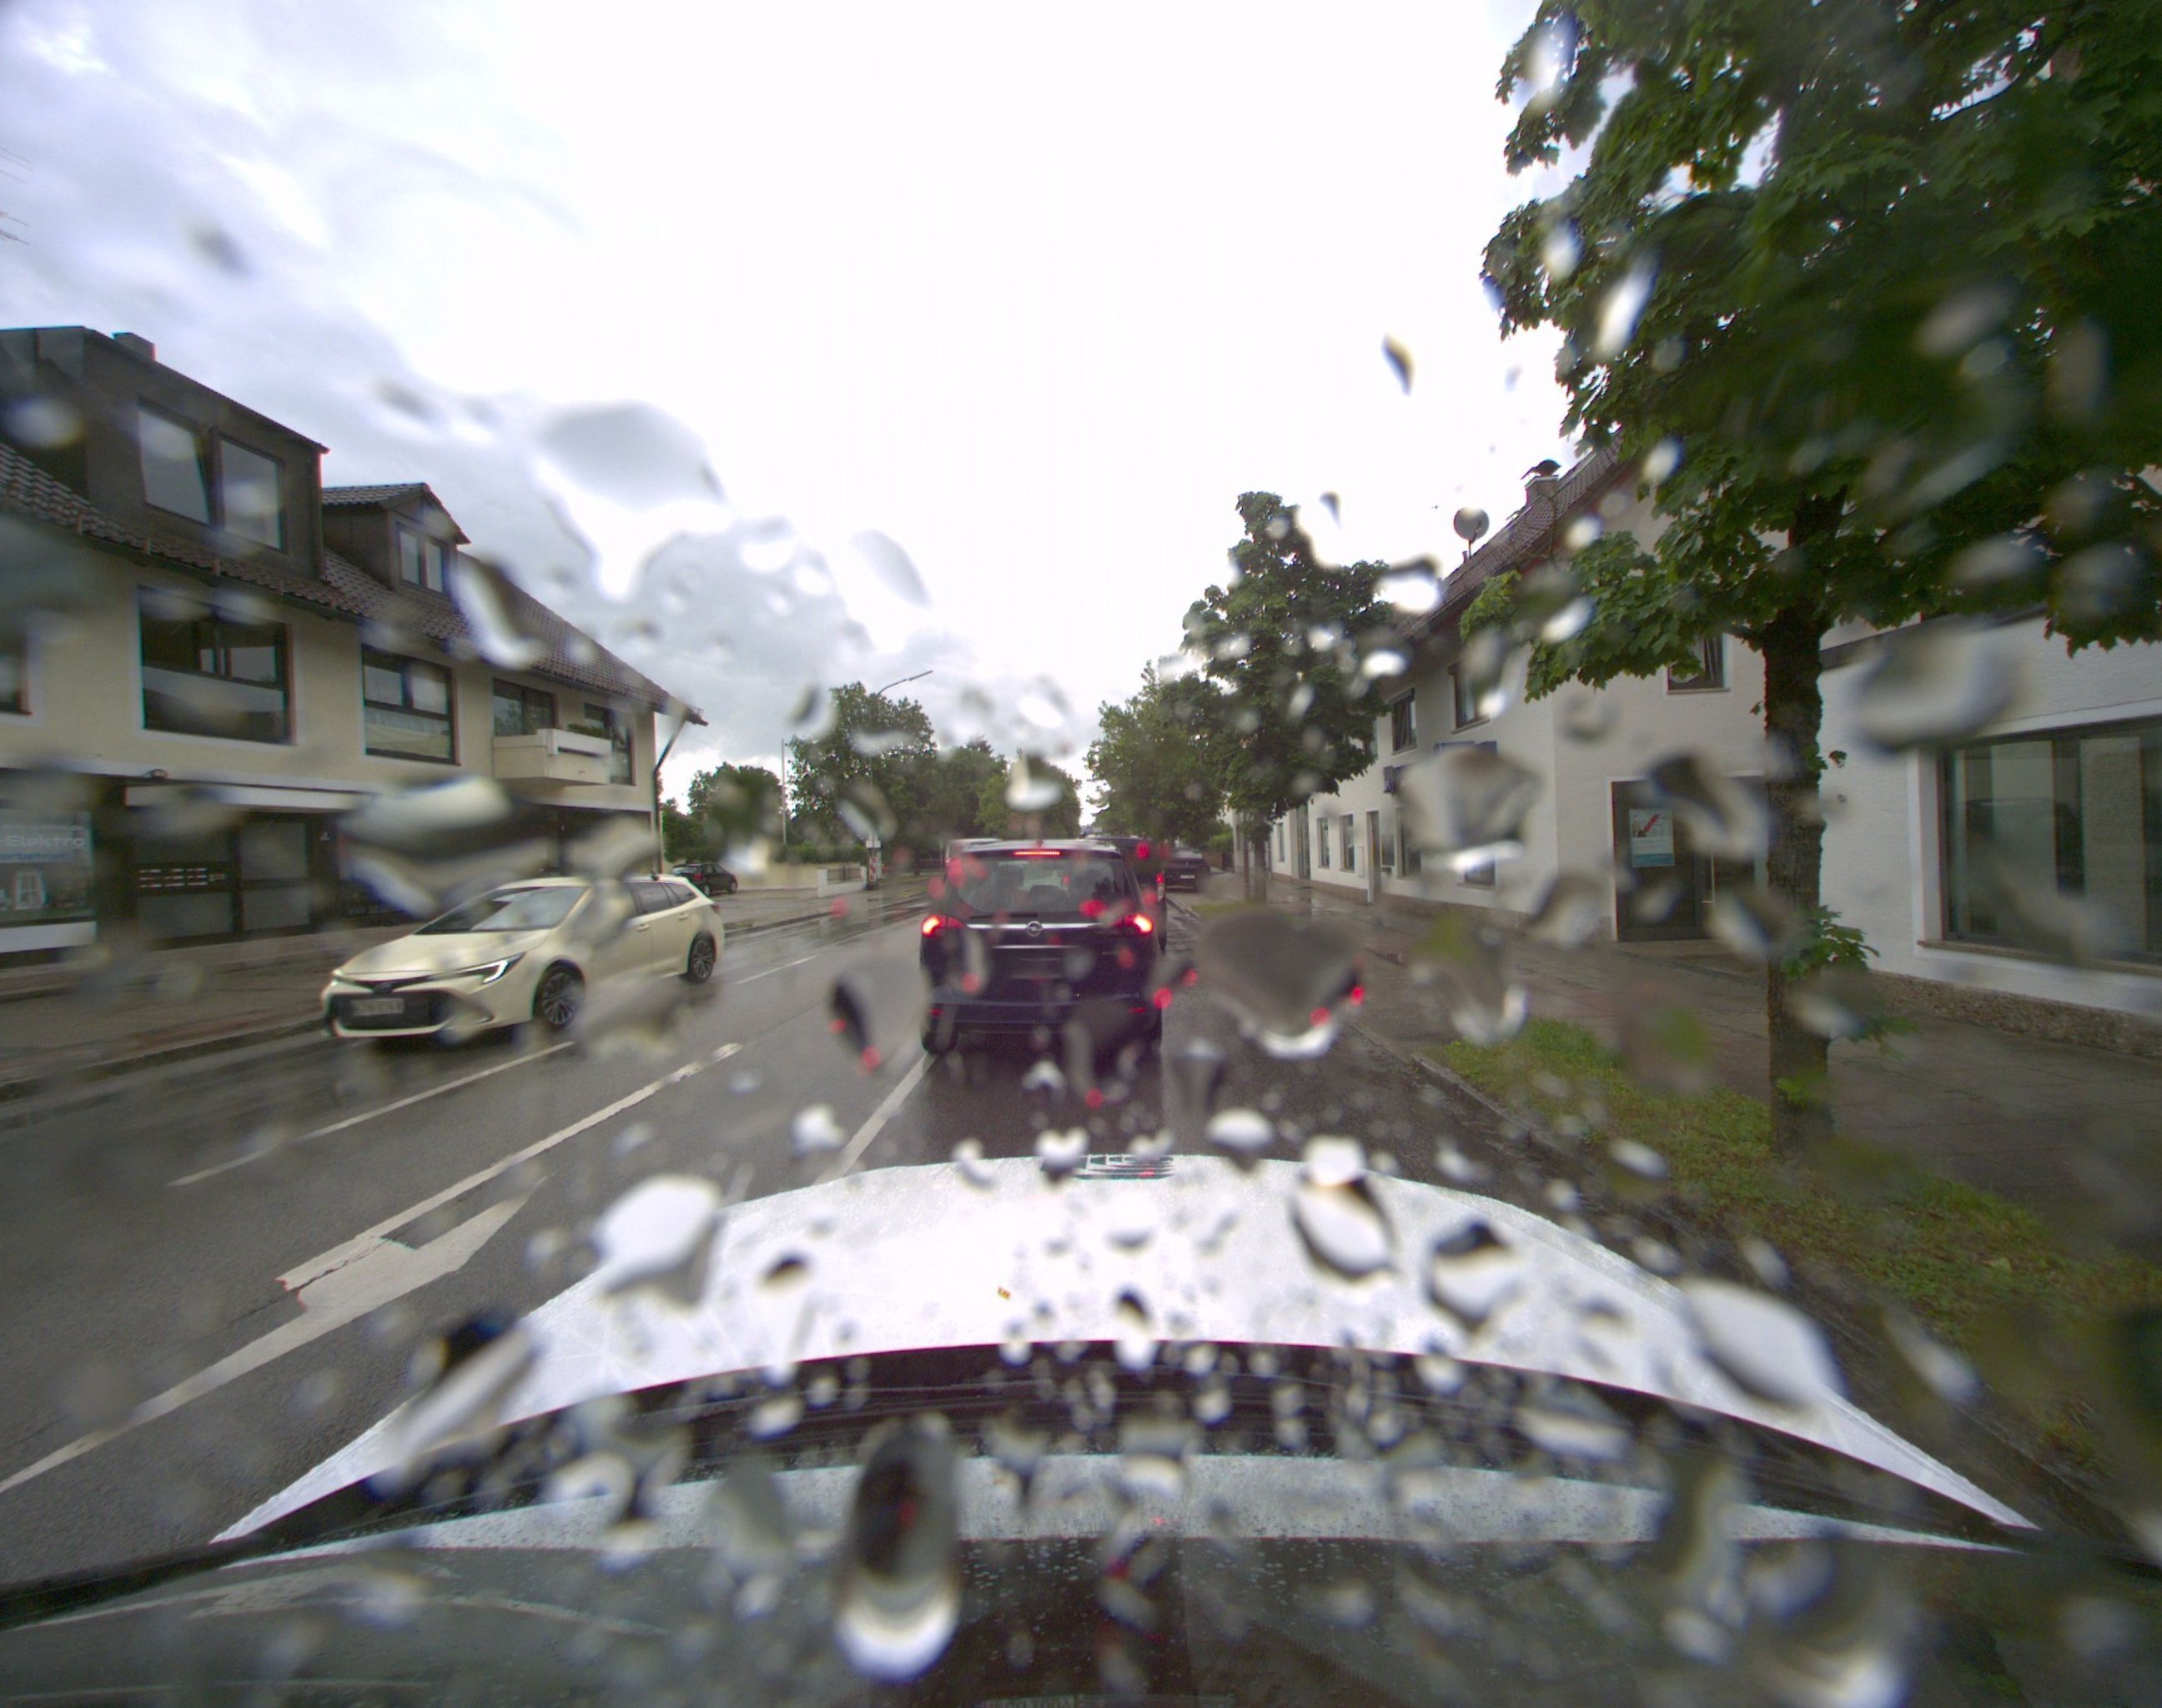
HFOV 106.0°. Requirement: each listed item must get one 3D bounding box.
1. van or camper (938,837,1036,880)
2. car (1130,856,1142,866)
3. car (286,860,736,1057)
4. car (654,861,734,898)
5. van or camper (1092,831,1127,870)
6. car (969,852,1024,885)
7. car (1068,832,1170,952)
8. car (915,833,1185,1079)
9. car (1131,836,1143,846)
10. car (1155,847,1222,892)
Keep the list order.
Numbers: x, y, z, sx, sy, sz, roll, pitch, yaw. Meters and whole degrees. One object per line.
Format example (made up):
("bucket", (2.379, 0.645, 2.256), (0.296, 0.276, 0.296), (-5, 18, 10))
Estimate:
("van or camper", (-6.415, 0.312, 55.486), (6.195, 2.707, 2.111), (-2, 0, 20))
("car", (8.102, 1.040, 119.727), (1.624, 1.378, 3.624), (-1, -1, 2))
("car", (-5.714, 0.901, 8.983), (1.745, 1.511, 4.233), (-3, 0, 3))
("car", (-16.418, 1.048, 34.746), (1.601, 1.380, 3.510), (-3, 0, 2))
("van or camper", (2.117, -0.270, 59.987), (2.351, 2.665, 5.374), (-2, 0, 2))
("car", (-3.982, 0.638, 39.060), (1.989, 1.407, 3.886), (-3, 0, 2))
("car", (0.611, 0.562, 13.661), (1.494, 1.776, 3.113), (-1, 0, 2))
("car", (-0.146, 0.668, 7.202), (1.762, 1.604, 3.665), (-1, 0, 2))
("car", (8.847, -2.024, 129.142), (1.624, 1.378, 3.624), (-3, 0, 2))
("car", (3.987, 0.556, 30.919), (2.110, 1.581, 3.936), (0, 0, 1))
